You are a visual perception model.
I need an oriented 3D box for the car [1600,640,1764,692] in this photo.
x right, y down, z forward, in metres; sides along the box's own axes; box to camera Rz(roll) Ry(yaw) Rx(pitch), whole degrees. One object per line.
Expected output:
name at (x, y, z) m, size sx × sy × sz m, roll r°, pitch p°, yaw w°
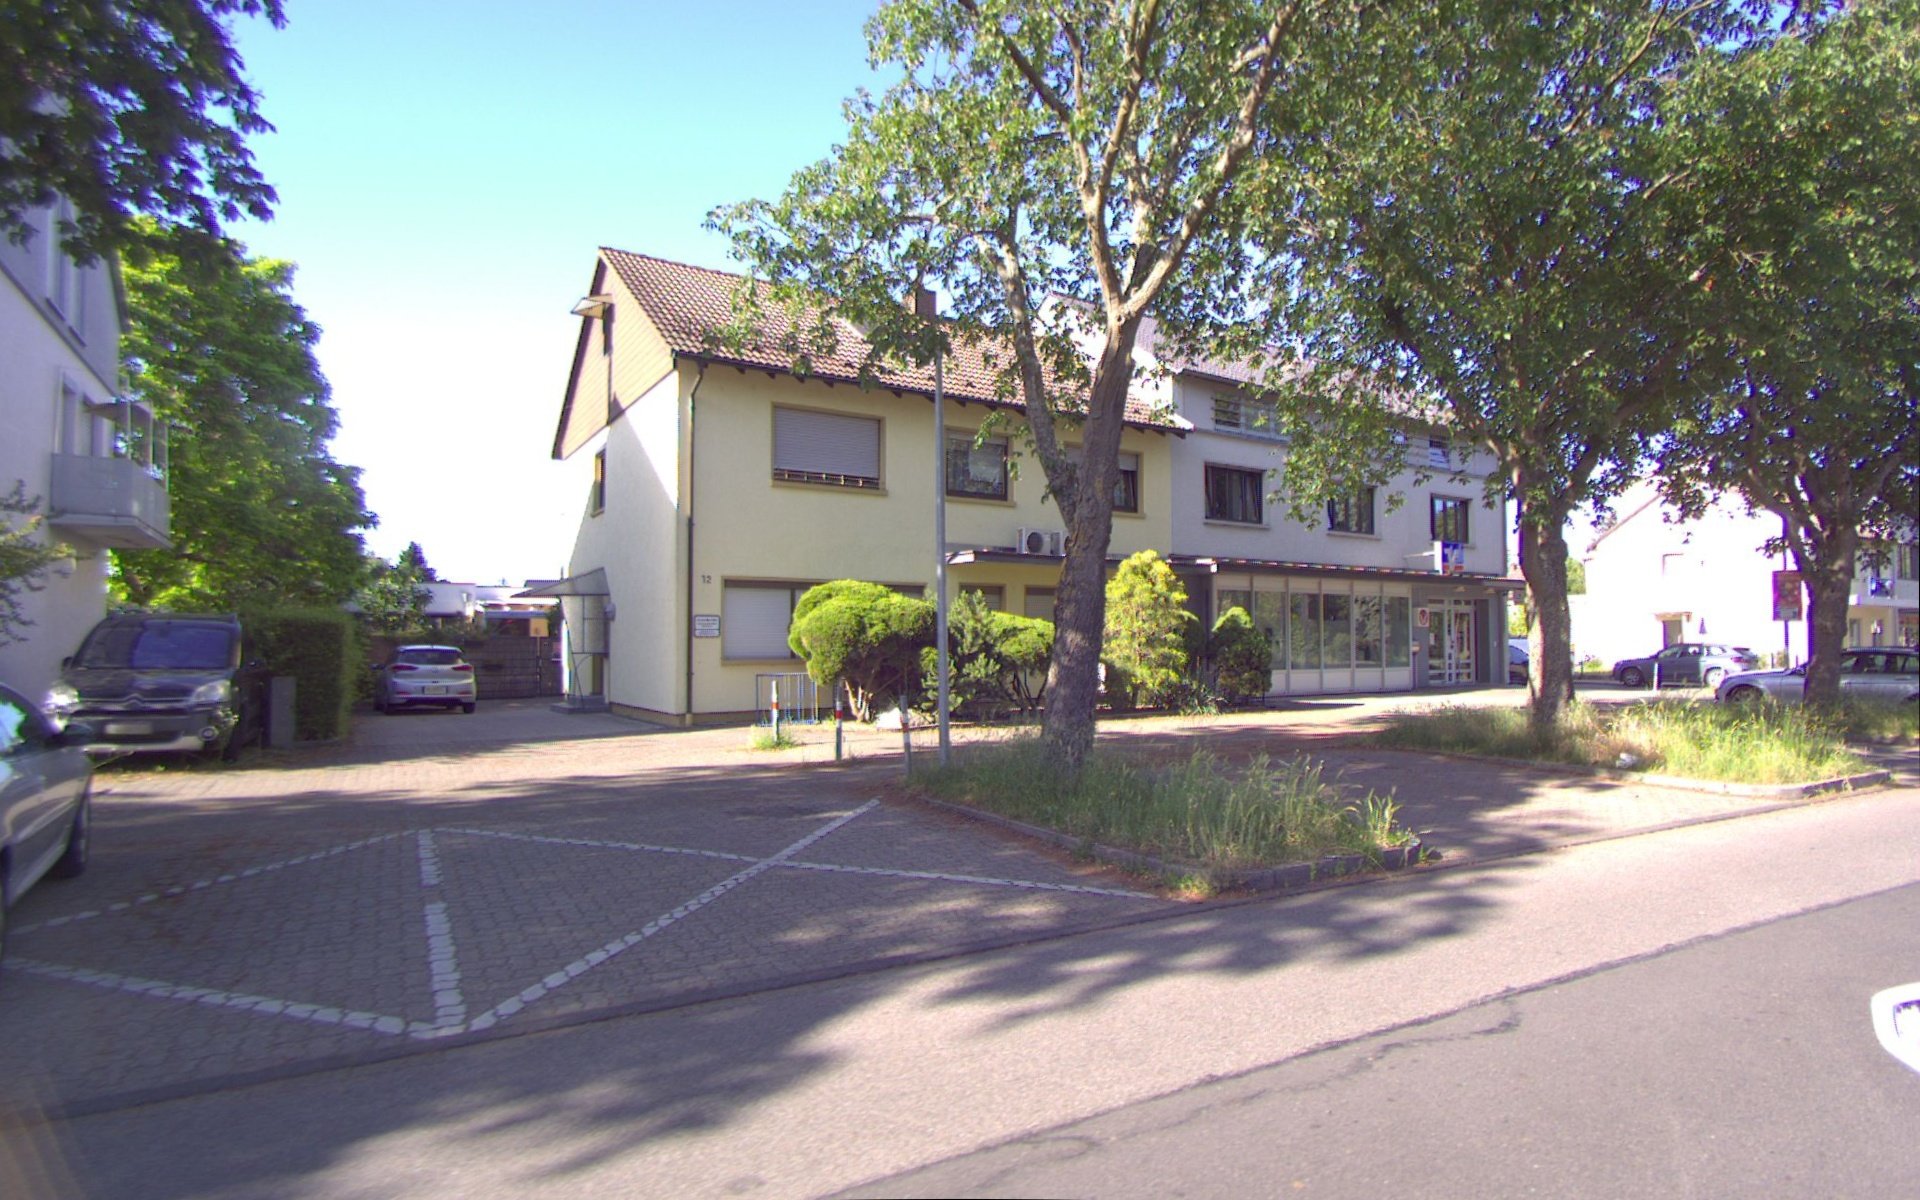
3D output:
car at (26.407, 2.362, 36.893) m, size 1.978 × 1.639 × 4.529 m, roll 0°, pitch -1°, yaw -33°

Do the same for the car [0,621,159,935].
car at (-5.509, 0.786, 5.164) m, size 1.592 × 1.318 × 3.747 m, roll 0°, pitch -1°, yaw -30°

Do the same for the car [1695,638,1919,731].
car at (17.183, 1.569, 19.357) m, size 1.818 × 1.531 × 4.535 m, roll 0°, pitch -1°, yaw -29°

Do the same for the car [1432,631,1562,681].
car at (22.965, 2.336, 43.125) m, size 1.978 × 1.953 × 4.529 m, roll 0°, pitch -1°, yaw -33°

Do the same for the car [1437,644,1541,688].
car at (17.788, 2.180, 33.734) m, size 3.470 × 1.253 × 1.533 m, roll 0°, pitch 0°, yaw -31°

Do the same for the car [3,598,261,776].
car at (-9.737, 0.881, 12.173) m, size 1.979 × 1.737 × 4.208 m, roll 0°, pitch -1°, yaw -34°

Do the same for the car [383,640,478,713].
car at (-11.925, 1.669, 22.658) m, size 1.740 × 1.483 × 3.972 m, roll 1°, pitch -3°, yaw -28°
